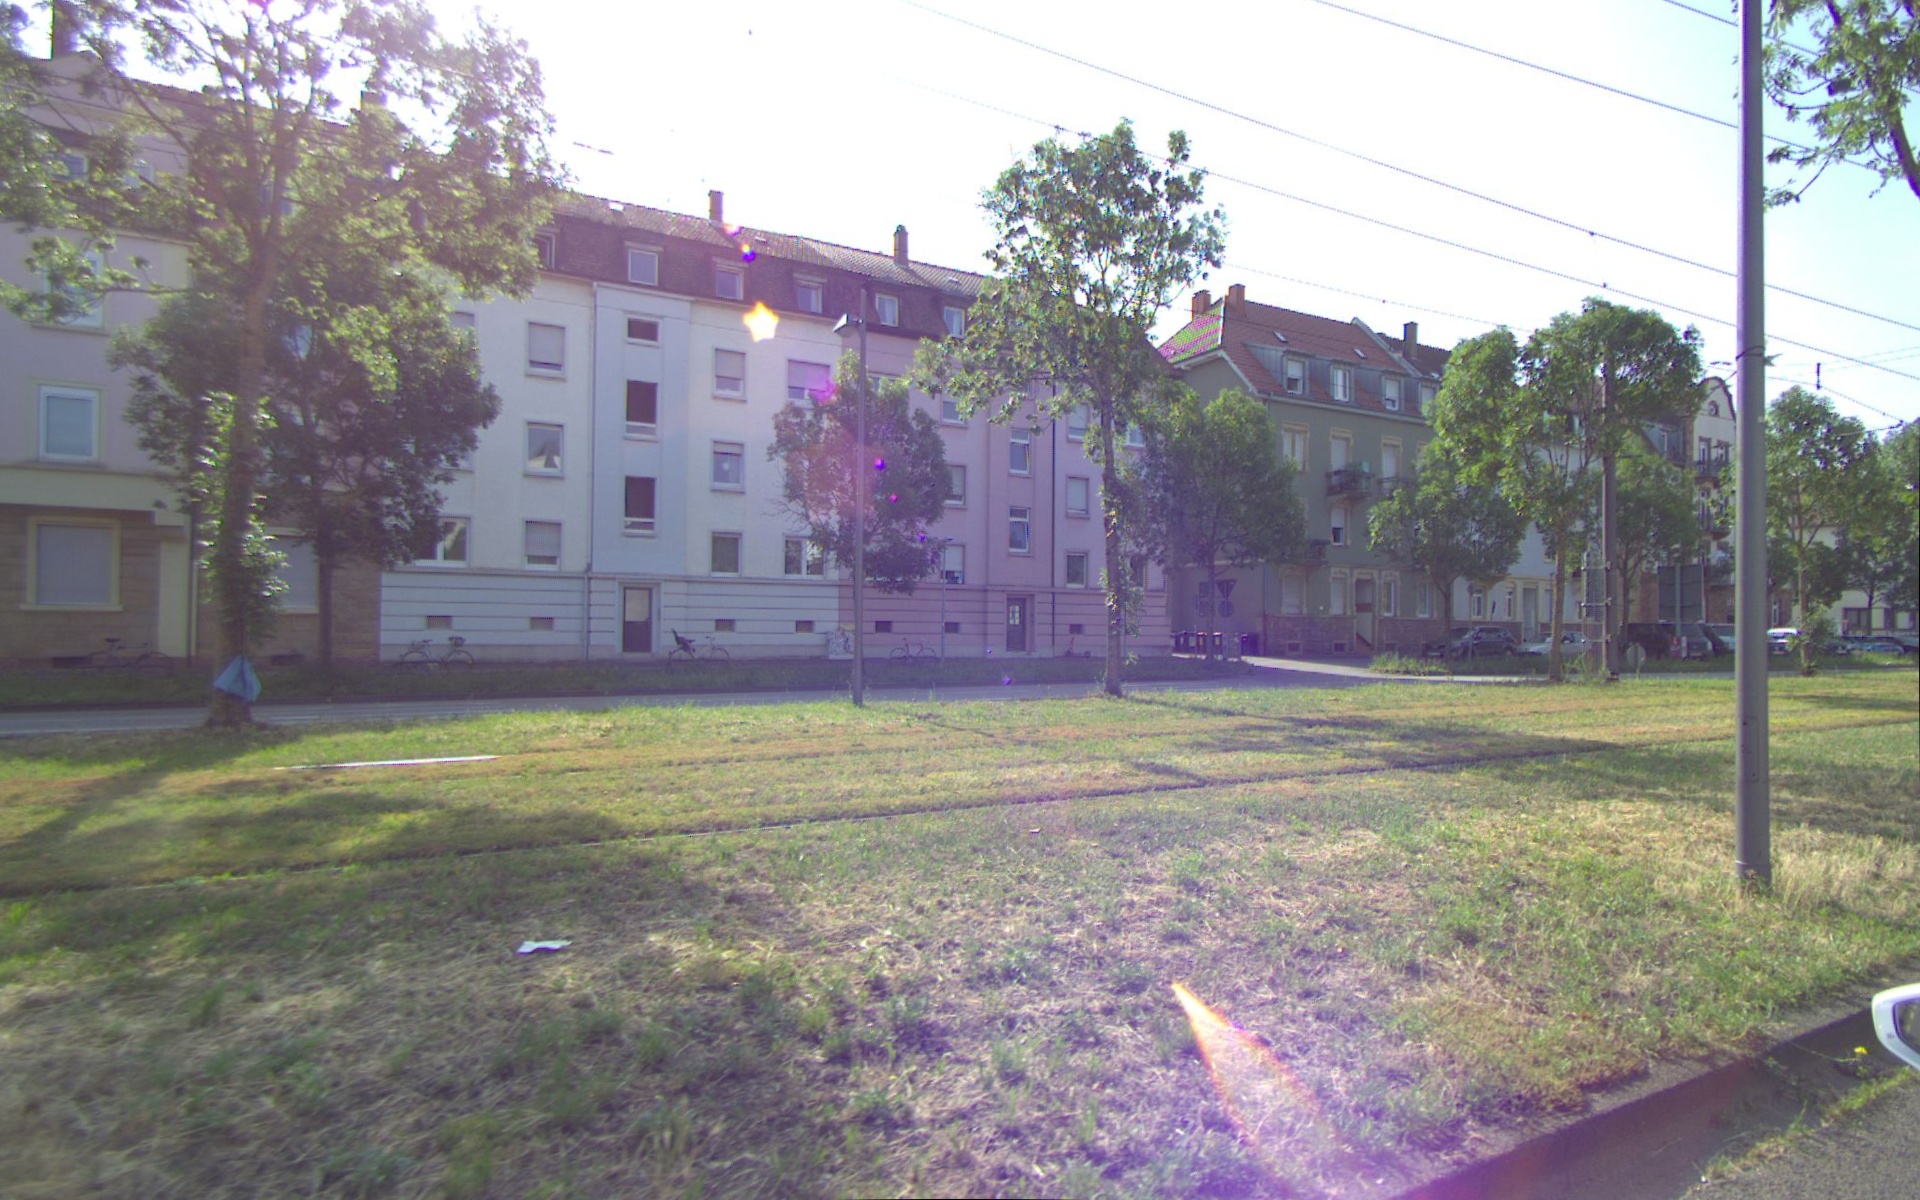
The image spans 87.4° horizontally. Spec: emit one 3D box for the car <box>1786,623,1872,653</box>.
[{"bbox_3d":[48.221,2.068,55.832,1.545,1.436,4.002,2,1,6],"label":"car"}]

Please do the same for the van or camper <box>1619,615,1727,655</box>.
[{"bbox_3d":[34.034,1.612,48.153,1.962,1.645,4.852,2,1,4],"label":"van or camper"}]

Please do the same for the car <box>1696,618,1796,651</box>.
[{"bbox_3d":[38.973,1.676,49.942,1.935,1.438,4.479,2,1,9],"label":"car"}]

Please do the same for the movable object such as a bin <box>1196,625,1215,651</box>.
[{"bbox_3d":[12.065,1.868,49.357,0.633,1.227,0.582,2,1,-30],"label":"movable object such as a bin"}]

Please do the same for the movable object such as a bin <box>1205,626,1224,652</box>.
[{"bbox_3d":[12.378,1.885,48.792,0.633,1.227,0.582,2,1,-30],"label":"movable object such as a bin"}]

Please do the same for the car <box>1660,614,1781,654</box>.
[{"bbox_3d":[36.619,1.613,48.573,2.016,1.645,5.223,2,1,2],"label":"car"}]

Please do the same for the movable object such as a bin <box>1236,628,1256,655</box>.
[{"bbox_3d":[13.399,1.939,47.048,0.633,1.227,0.582,2,1,-30],"label":"movable object such as a bin"}]

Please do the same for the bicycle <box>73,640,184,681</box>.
[{"bbox_3d":[-19.397,1.414,23.477,1.925,0.901,0.465,2,1,-30],"label":"bicycle"}]

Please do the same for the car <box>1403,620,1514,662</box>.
[{"bbox_3d":[21.418,1.727,43.089,4.719,1.650,1.984,1,1,-30],"label":"car"}]

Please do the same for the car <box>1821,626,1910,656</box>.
[{"bbox_3d":[50.474,2.266,56.108,1.545,1.436,4.001,2,1,5],"label":"car"}]

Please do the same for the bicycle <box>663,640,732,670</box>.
[{"bbox_3d":[-7.767,1.627,29.771,1.925,0.868,0.445,2,1,-30],"label":"bicycle"}]

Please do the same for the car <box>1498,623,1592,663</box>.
[{"bbox_3d":[26.785,1.945,45.965,4.107,1.650,1.881,1,1,-30],"label":"car"}]

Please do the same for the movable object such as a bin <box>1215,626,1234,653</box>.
[{"bbox_3d":[12.686,1.902,48.204,0.633,1.227,0.582,2,1,-30],"label":"movable object such as a bin"}]

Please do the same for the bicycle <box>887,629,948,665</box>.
[{"bbox_3d":[-1.414,1.563,33.402,1.925,1.143,0.601,2,1,-30],"label":"bicycle"}]

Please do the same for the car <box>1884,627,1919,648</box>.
[{"bbox_3d":[56.915,2.269,59.525,1.467,1.176,3.166,2,1,4],"label":"car"}]

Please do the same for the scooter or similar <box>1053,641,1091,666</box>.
[{"bbox_3d":[4.037,1.923,36.284,1.202,0.823,0.603,2,1,-18],"label":"scooter or similar"}]

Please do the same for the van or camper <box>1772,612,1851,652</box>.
[{"bbox_3d":[58.556,2.202,69.064,6.280,2.601,2.029,2,1,-30],"label":"van or camper"}]

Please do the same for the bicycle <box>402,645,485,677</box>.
[{"bbox_3d":[-13.708,1.616,26.681,1.925,0.799,0.435,2,1,-30],"label":"bicycle"}]
